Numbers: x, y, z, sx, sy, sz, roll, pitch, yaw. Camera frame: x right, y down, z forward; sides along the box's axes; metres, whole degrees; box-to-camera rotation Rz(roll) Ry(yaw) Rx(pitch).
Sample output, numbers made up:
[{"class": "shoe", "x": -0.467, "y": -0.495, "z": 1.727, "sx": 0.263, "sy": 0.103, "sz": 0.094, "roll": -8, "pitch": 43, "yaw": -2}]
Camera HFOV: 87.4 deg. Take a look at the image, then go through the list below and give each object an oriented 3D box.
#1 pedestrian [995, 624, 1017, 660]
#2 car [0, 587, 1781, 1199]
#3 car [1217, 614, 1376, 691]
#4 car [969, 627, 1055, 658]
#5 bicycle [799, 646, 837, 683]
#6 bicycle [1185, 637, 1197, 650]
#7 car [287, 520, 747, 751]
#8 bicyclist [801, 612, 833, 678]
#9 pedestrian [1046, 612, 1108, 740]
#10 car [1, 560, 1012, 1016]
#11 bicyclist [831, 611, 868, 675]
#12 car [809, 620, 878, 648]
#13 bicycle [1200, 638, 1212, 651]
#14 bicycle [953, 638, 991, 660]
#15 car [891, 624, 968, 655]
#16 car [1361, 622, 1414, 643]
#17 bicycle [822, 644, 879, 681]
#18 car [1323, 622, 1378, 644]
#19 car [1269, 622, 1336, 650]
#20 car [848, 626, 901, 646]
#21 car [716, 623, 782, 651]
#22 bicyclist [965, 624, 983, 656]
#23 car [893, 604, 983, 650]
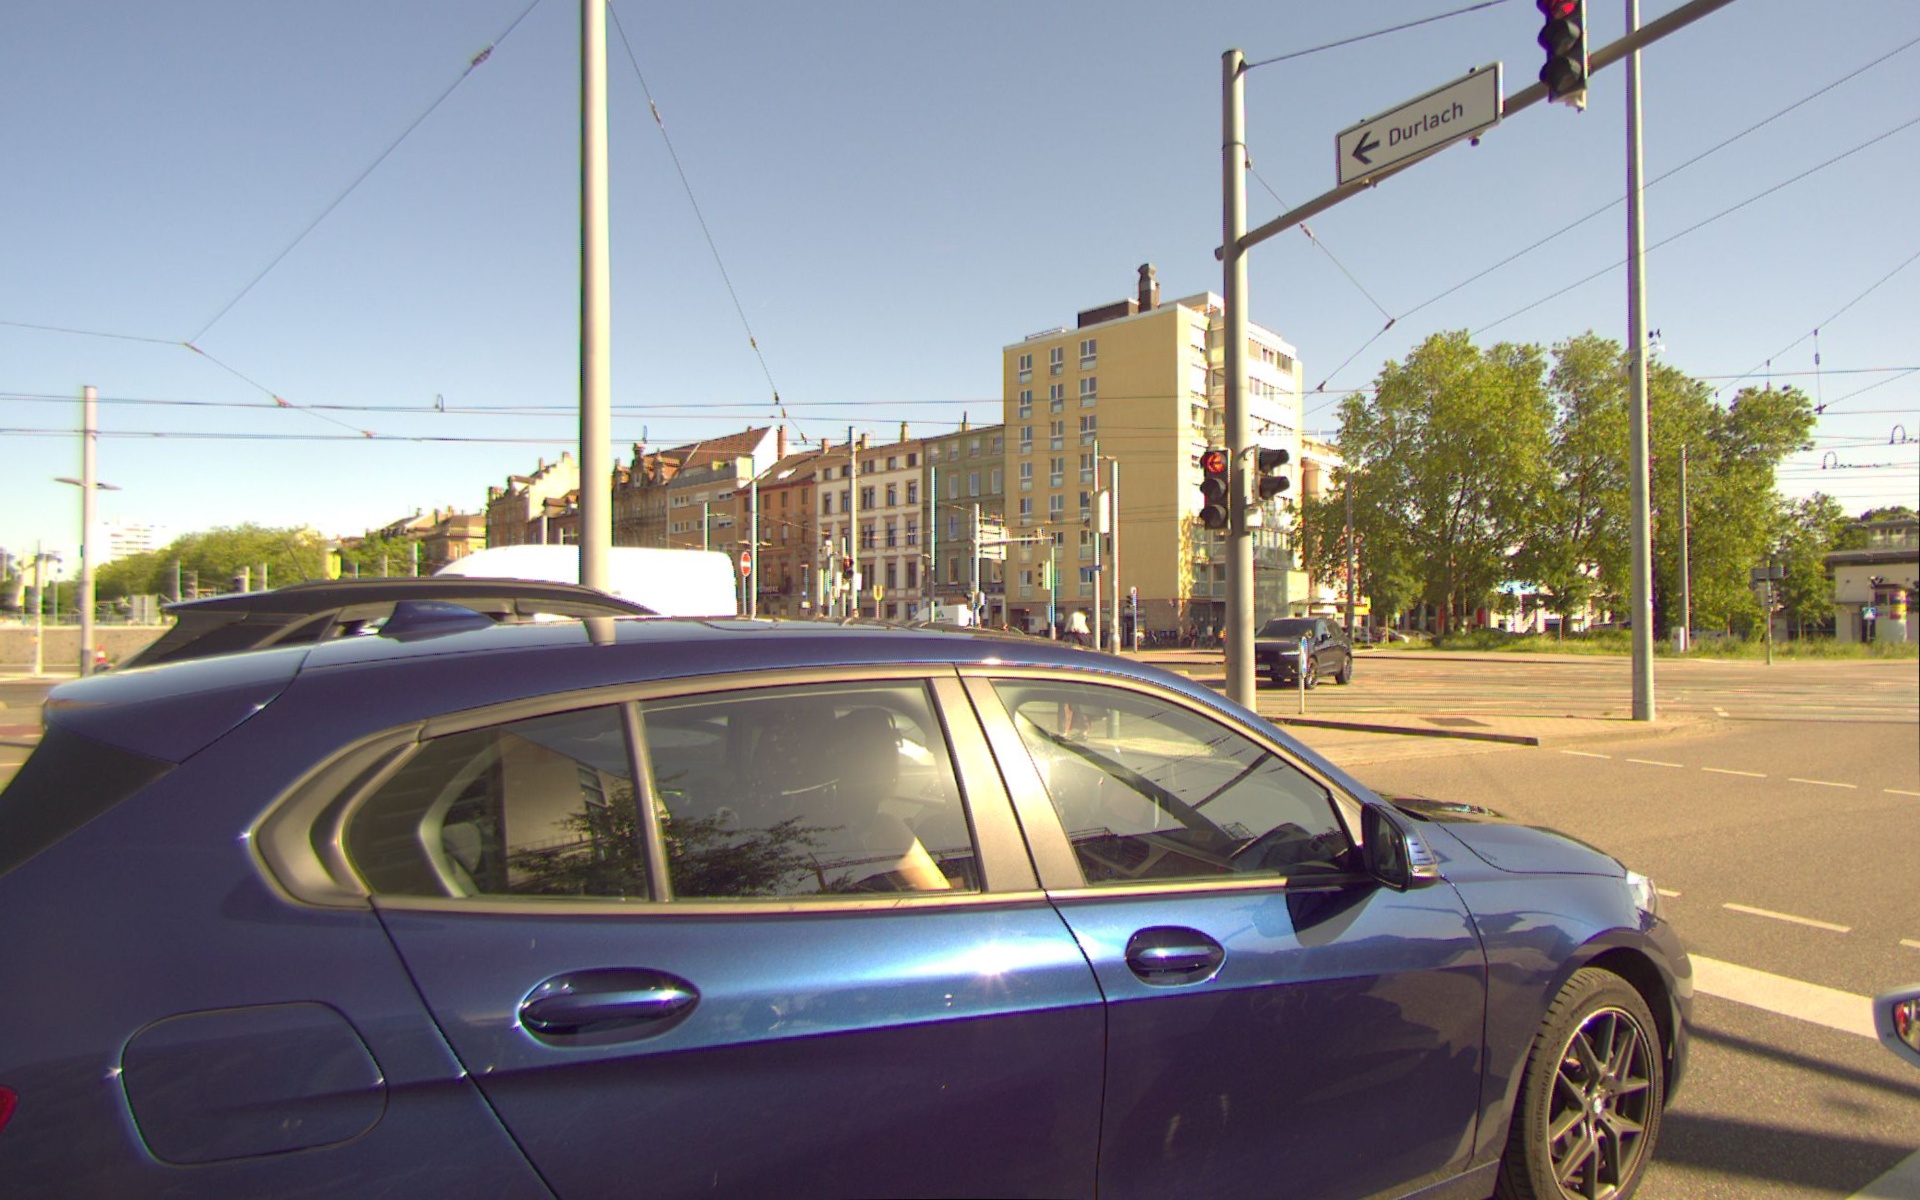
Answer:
[{"class": "pedestrian", "x": 2.060, "y": 1.894, "z": 45.232, "sx": 0.669, "sy": 1.593, "sz": 0.740, "roll": 1, "pitch": -2, "yaw": -45}, {"class": "car", "x": 0.137, "y": 0.752, "z": 2.541, "sx": 3.984, "sy": 1.464, "sz": 1.703, "roll": 1, "pitch": 0, "yaw": -30}, {"class": "car", "x": 8.068, "y": 1.204, "z": 23.933, "sx": 4.041, "sy": 1.681, "sz": 1.847, "roll": 1, "pitch": -2, "yaw": -42}, {"class": "car", "x": 2.518, "y": 2.049, "z": 49.150, "sx": 4.119, "sy": 1.457, "sz": 1.717, "roll": -1, "pitch": -2, "yaw": 44}, {"class": "bicycle", "x": -3.688, "y": 1.652, "z": 26.059, "sx": 0.668, "sy": 0.890, "sz": 1.891, "roll": 0, "pitch": -2, "yaw": -18}, {"class": "bicycle", "x": 14.568, "y": 2.768, "z": 63.401, "sx": 0.451, "sy": 0.790, "sz": 1.808, "roll": -1, "pitch": -2, "yaw": 23}, {"class": "car", "x": -5.751, "y": 0.455, "z": 13.609, "sx": 5.379, "sy": 2.541, "sz": 1.975, "roll": 1, "pitch": -2, "yaw": -42}, {"class": "bicyclist", "x": -3.729, "y": 1.166, "z": 26.111, "sx": 0.668, "sy": 1.676, "sz": 0.781, "roll": 0, "pitch": -1, "yaw": -20}, {"class": "pedestrian", "x": 1.461, "y": 0.948, "z": 12.625, "sx": 0.746, "sy": 1.575, "sz": 0.357, "roll": 0, "pitch": -1, "yaw": 2}, {"class": "car", "x": -1.876, "y": 0.671, "z": 5.104, "sx": 3.959, "sy": 1.537, "sz": 1.751, "roll": 1, "pitch": -1, "yaw": -28}, {"class": "bicyclist", "x": -2.922, "y": 1.127, "z": 26.536, "sx": 0.672, "sy": 1.676, "sz": 0.777, "roll": 1, "pitch": -1, "yaw": -35}, {"class": "car", "x": -7.208, "y": 2.071, "z": 62.068, "sx": 4.244, "sy": 1.675, "sz": 1.849, "roll": -1, "pitch": -2, "yaw": 40}, {"class": "bicycle", "x": 15.360, "y": 2.772, "z": 62.783, "sx": 0.478, "sy": 0.822, "sz": 1.612, "roll": -1, "pitch": -2, "yaw": 23}, {"class": "bicycle", "x": 0.540, "y": 2.254, "z": 46.213, "sx": 1.666, "sy": 0.958, "sz": 0.614, "roll": 1, "pitch": -2, "yaw": -30}, {"class": "car", "x": -1.745, "y": 2.173, "z": 56.480, "sx": 4.246, "sy": 1.675, "sz": 1.848, "roll": -1, "pitch": -2, "yaw": 42}, {"class": "car", "x": 34.974, "y": 2.649, "z": 82.229, "sx": 3.691, "sy": 1.684, "sz": 1.586, "roll": -1, "pitch": -2, "yaw": 42}, {"class": "bicycle", "x": -2.892, "y": 1.629, "z": 26.438, "sx": 0.672, "sy": 0.890, "sz": 1.880, "roll": 1, "pitch": -2, "yaw": -35}, {"class": "car", "x": 29.989, "y": 2.514, "z": 77.193, "sx": 3.691, "sy": 1.684, "sz": 1.586, "roll": -1, "pitch": -2, "yaw": 42}, {"class": "car", "x": 21.701, "y": 2.267, "z": 63.683, "sx": 3.691, "sy": 1.684, "sz": 1.586, "roll": -1, "pitch": -2, "yaw": 42}, {"class": "car", "x": -6.312, "y": 2.658, "z": 74.437, "sx": 1.749, "sy": 1.446, "sz": 3.863, "roll": -1, "pitch": -2, "yaw": 39}, {"class": "car", "x": -13.163, "y": 2.285, "z": 62.686, "sx": 4.244, "sy": 1.675, "sz": 1.849, "roll": -2, "pitch": -2, "yaw": 41}, {"class": "bicyclist", "x": 0.628, "y": 1.847, "z": 46.279, "sx": 0.609, "sy": 1.462, "sz": 0.614, "roll": 1, "pitch": -1, "yaw": -30}, {"class": "car", "x": -1.465, "y": 1.737, "z": 63.691, "sx": 5.838, "sy": 2.780, "sz": 2.133, "roll": -1, "pitch": -2, "yaw": 42}]
